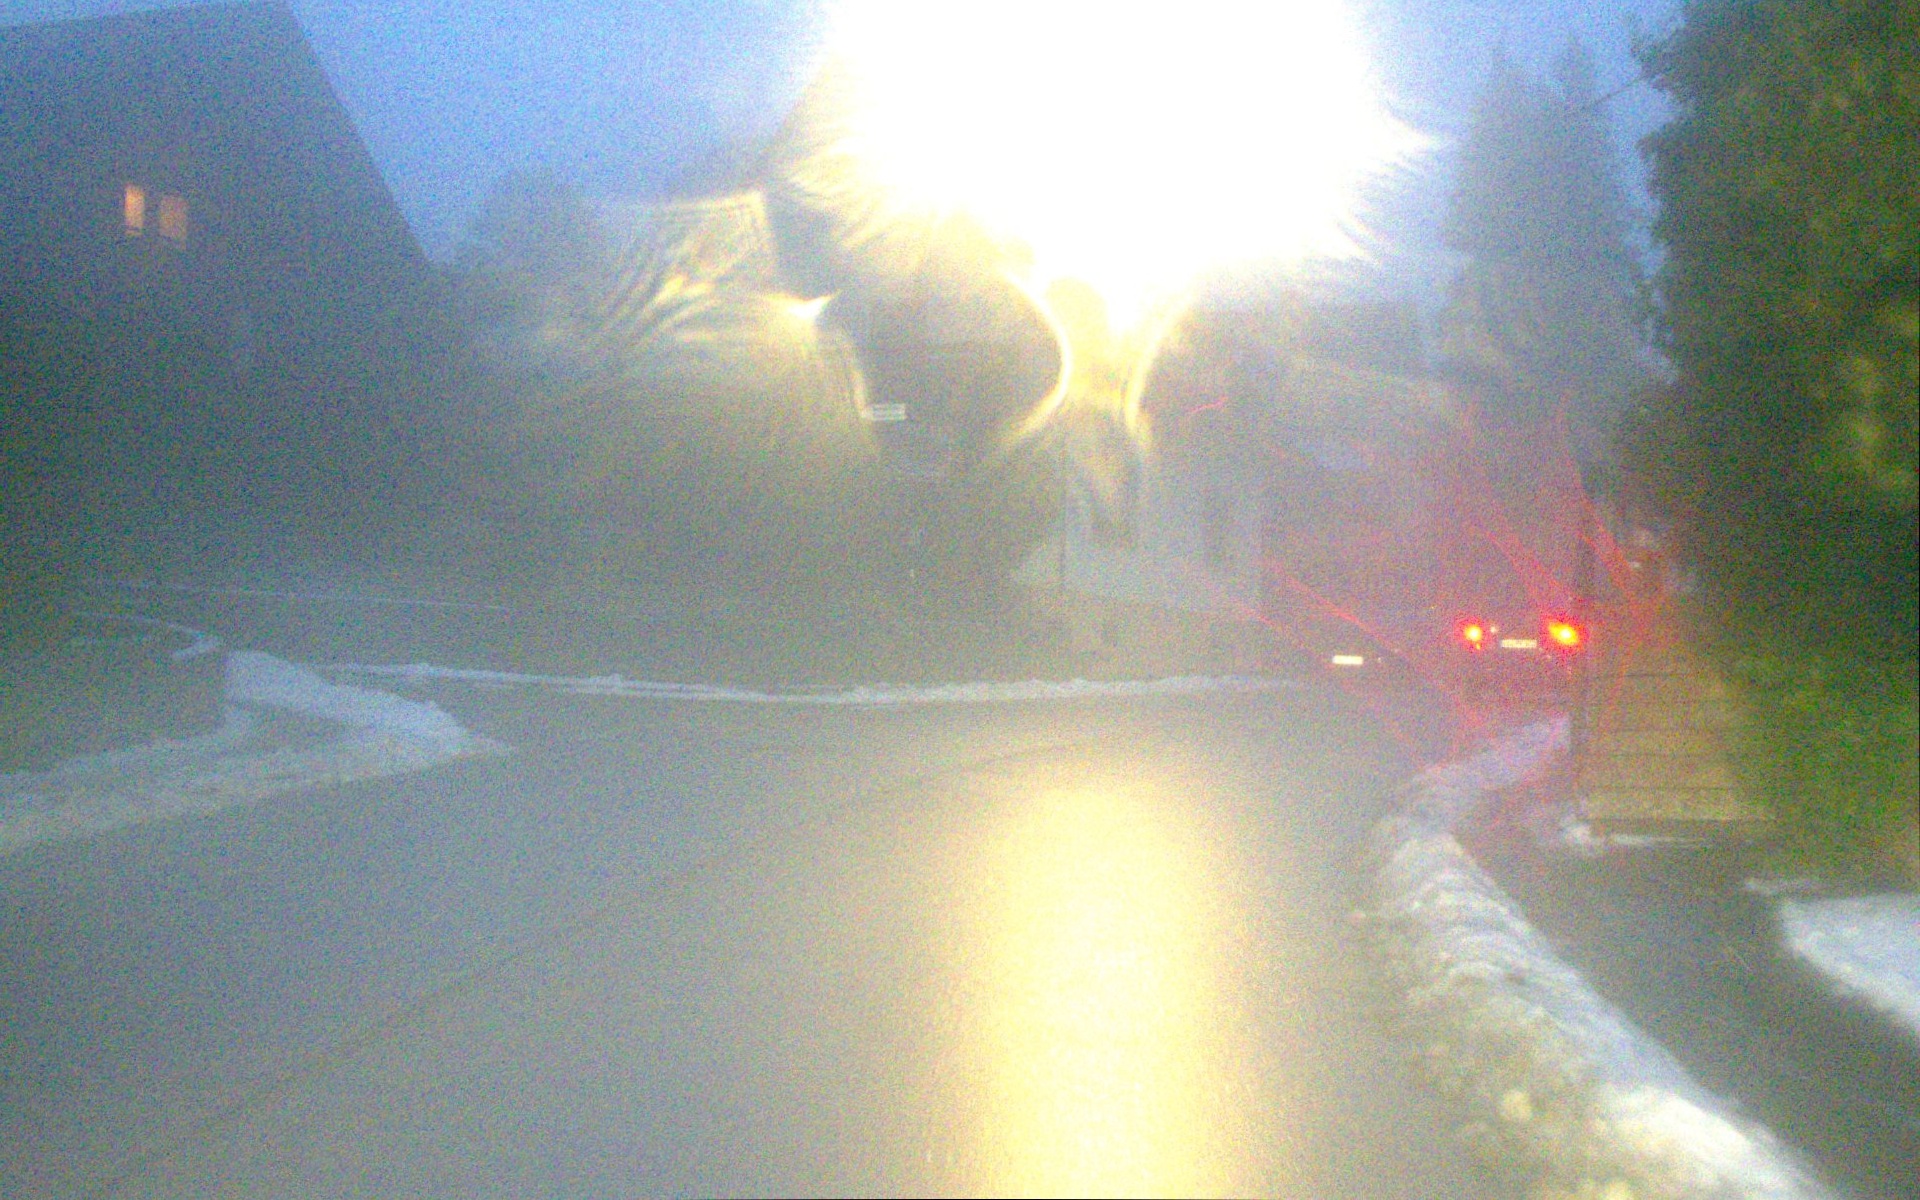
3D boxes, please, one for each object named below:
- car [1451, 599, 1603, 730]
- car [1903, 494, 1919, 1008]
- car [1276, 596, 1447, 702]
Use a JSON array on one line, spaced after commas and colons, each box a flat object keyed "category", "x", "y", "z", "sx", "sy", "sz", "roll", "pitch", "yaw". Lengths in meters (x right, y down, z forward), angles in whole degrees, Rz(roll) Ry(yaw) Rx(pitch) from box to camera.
[{"category": "car", "x": 8.187, "y": 0.963, "z": 49.380, "sx": 1.994, "sy": 1.731, "sz": 3.876, "roll": -2, "pitch": -3, "yaw": 11}, {"category": "car", "x": 5.231, "y": 0.483, "z": 10.753, "sx": 3.986, "sy": 1.684, "sz": 1.845, "roll": 0, "pitch": 0, "yaw": -8}, {"category": "car", "x": 6.940, "y": 0.877, "z": 59.107, "sx": 1.995, "sy": 1.645, "sz": 3.995, "roll": -2, "pitch": -3, "yaw": 20}]
